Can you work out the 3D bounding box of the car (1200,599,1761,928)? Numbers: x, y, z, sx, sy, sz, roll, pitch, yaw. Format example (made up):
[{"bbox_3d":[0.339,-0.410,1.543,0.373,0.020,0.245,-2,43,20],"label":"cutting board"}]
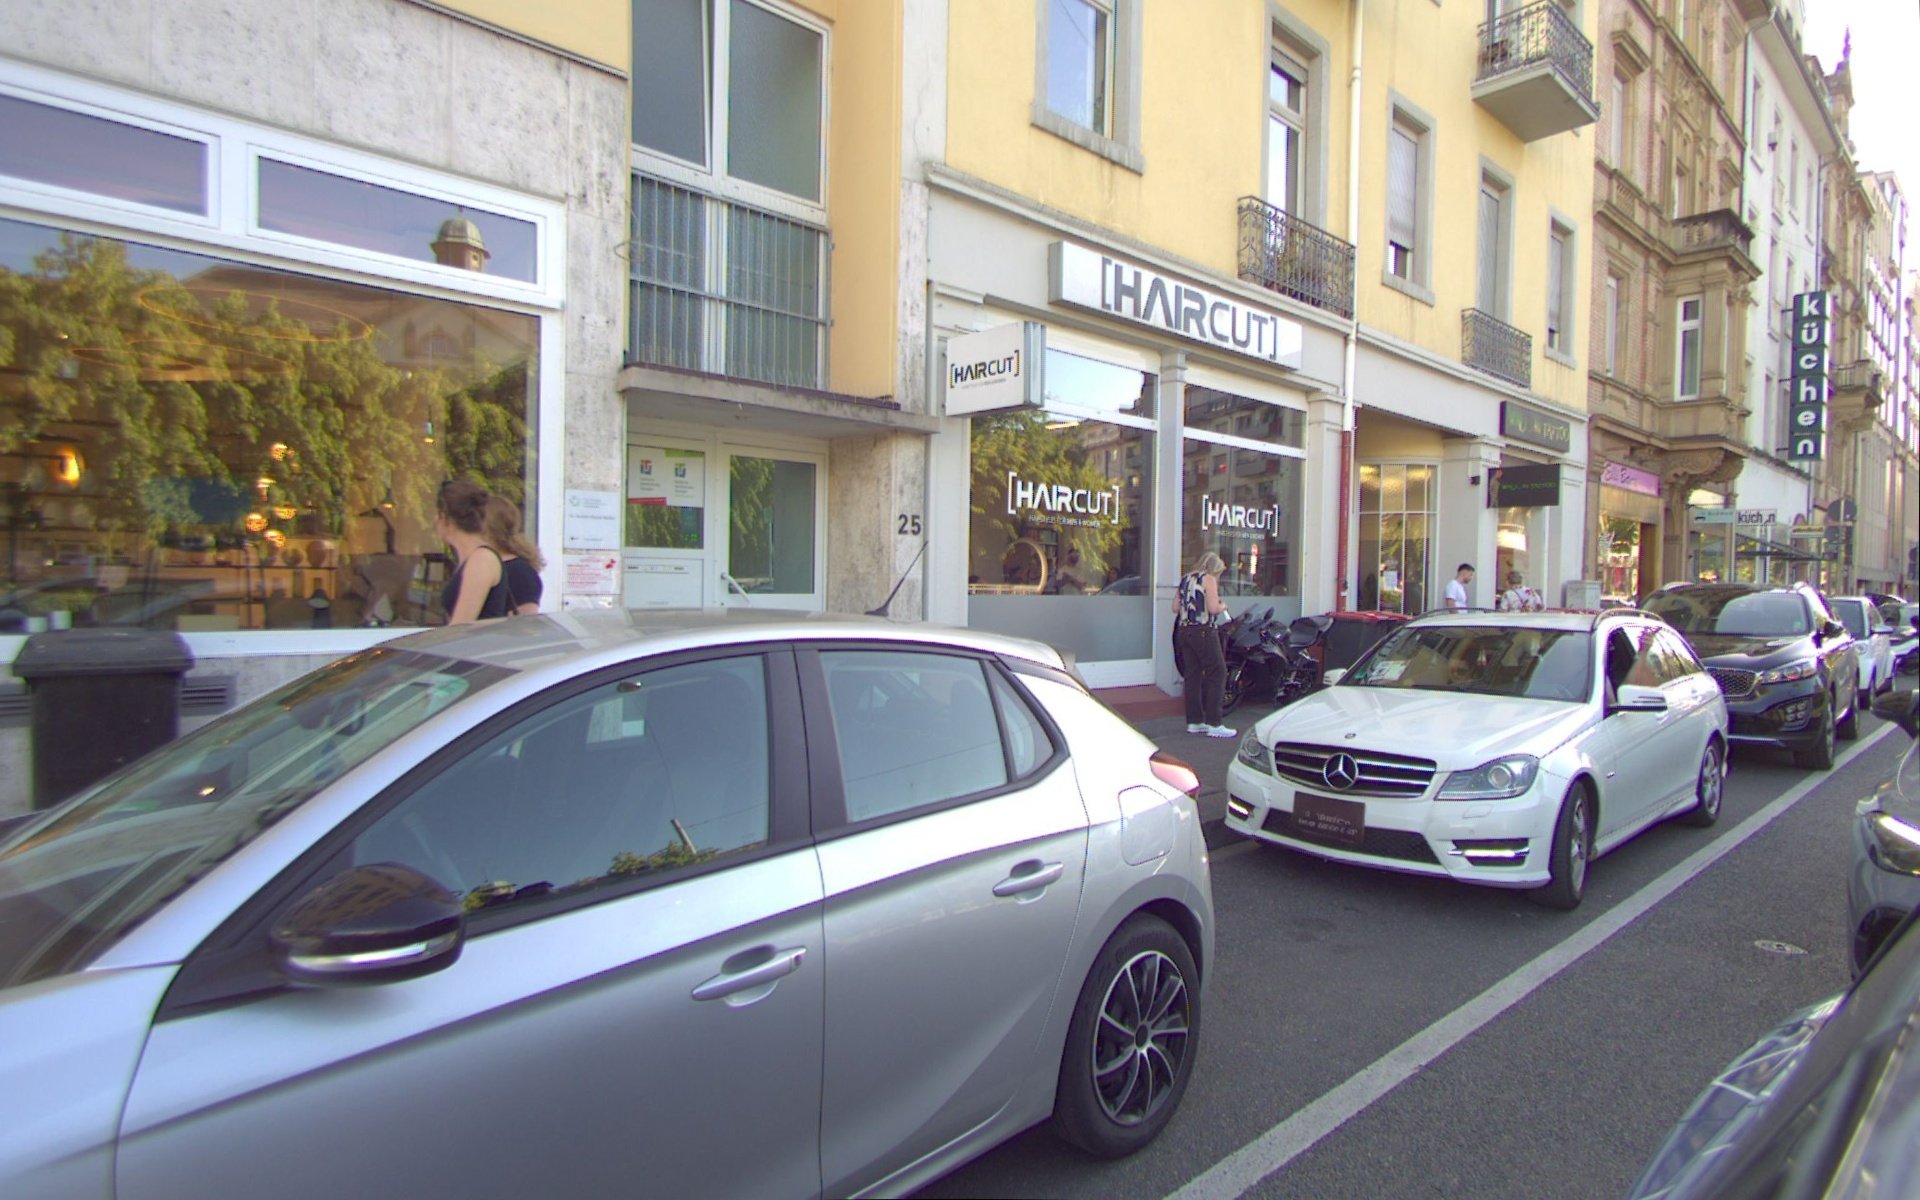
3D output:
[{"bbox_3d":[3.516,0.702,6.429,4.302,1.376,1.703,-1,0,-41],"label":"car"}]

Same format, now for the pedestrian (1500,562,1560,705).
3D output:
[{"bbox_3d":[7.687,0.438,13.669,0.567,1.874,0.661,0,0,19],"label":"pedestrian"}]

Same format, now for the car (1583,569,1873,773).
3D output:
[{"bbox_3d":[7.973,0.554,10.345,4.176,1.659,1.799,-1,0,-45],"label":"car"}]

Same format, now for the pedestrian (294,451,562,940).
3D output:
[{"bbox_3d":[-2.020,0.322,3.895,0.650,1.686,0.644,1,0,17],"label":"pedestrian"}]

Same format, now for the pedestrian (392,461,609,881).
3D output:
[{"bbox_3d":[-2.133,0.298,4.731,0.733,1.806,0.565,1,0,18],"label":"pedestrian"}]

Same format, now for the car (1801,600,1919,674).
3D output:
[{"bbox_3d":[18.103,0.656,19.959,4.016,1.282,1.800,-1,1,-42],"label":"car"}]

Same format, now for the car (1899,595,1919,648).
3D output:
[{"bbox_3d":[26.611,0.555,27.138,3.773,1.357,1.800,-1,1,-42],"label":"car"}]

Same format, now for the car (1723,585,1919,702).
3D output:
[{"bbox_3d":[13.115,0.547,15.309,4.016,1.546,1.800,-1,0,-42],"label":"car"}]

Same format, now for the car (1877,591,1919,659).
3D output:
[{"bbox_3d":[22.244,0.533,23.040,4.016,1.450,1.657,-1,0,-42],"label":"car"}]

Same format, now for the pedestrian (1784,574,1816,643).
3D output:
[{"bbox_3d":[22.992,0.224,27.708,0.653,1.874,0.574,0,0,-40],"label":"pedestrian"}]

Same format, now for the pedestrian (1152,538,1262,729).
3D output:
[{"bbox_3d":[2.273,0.276,9.320,0.595,1.674,0.719,0,3,-40],"label":"pedestrian"}]

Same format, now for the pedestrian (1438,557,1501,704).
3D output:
[{"bbox_3d":[7.077,0.416,14.061,0.679,2.008,0.375,1,1,-18],"label":"pedestrian"}]

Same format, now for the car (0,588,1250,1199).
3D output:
[{"bbox_3d":[-1.006,0.701,2.286,3.597,1.445,1.549,-1,1,-42],"label":"car"}]

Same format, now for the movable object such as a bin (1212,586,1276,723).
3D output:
[{"bbox_3d":[2.694,0.501,9.616,0.387,1.253,0.391,0,3,-41],"label":"movable object such as a bin"}]

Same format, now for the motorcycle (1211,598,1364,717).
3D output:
[{"bbox_3d":[3.448,0.555,10.557,1.920,1.091,0.567,-1,4,-41],"label":"motorcycle"}]

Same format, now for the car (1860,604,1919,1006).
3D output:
[{"bbox_3d":[5.299,0.708,4.235,3.930,1.376,1.801,-1,1,-41],"label":"car"}]
